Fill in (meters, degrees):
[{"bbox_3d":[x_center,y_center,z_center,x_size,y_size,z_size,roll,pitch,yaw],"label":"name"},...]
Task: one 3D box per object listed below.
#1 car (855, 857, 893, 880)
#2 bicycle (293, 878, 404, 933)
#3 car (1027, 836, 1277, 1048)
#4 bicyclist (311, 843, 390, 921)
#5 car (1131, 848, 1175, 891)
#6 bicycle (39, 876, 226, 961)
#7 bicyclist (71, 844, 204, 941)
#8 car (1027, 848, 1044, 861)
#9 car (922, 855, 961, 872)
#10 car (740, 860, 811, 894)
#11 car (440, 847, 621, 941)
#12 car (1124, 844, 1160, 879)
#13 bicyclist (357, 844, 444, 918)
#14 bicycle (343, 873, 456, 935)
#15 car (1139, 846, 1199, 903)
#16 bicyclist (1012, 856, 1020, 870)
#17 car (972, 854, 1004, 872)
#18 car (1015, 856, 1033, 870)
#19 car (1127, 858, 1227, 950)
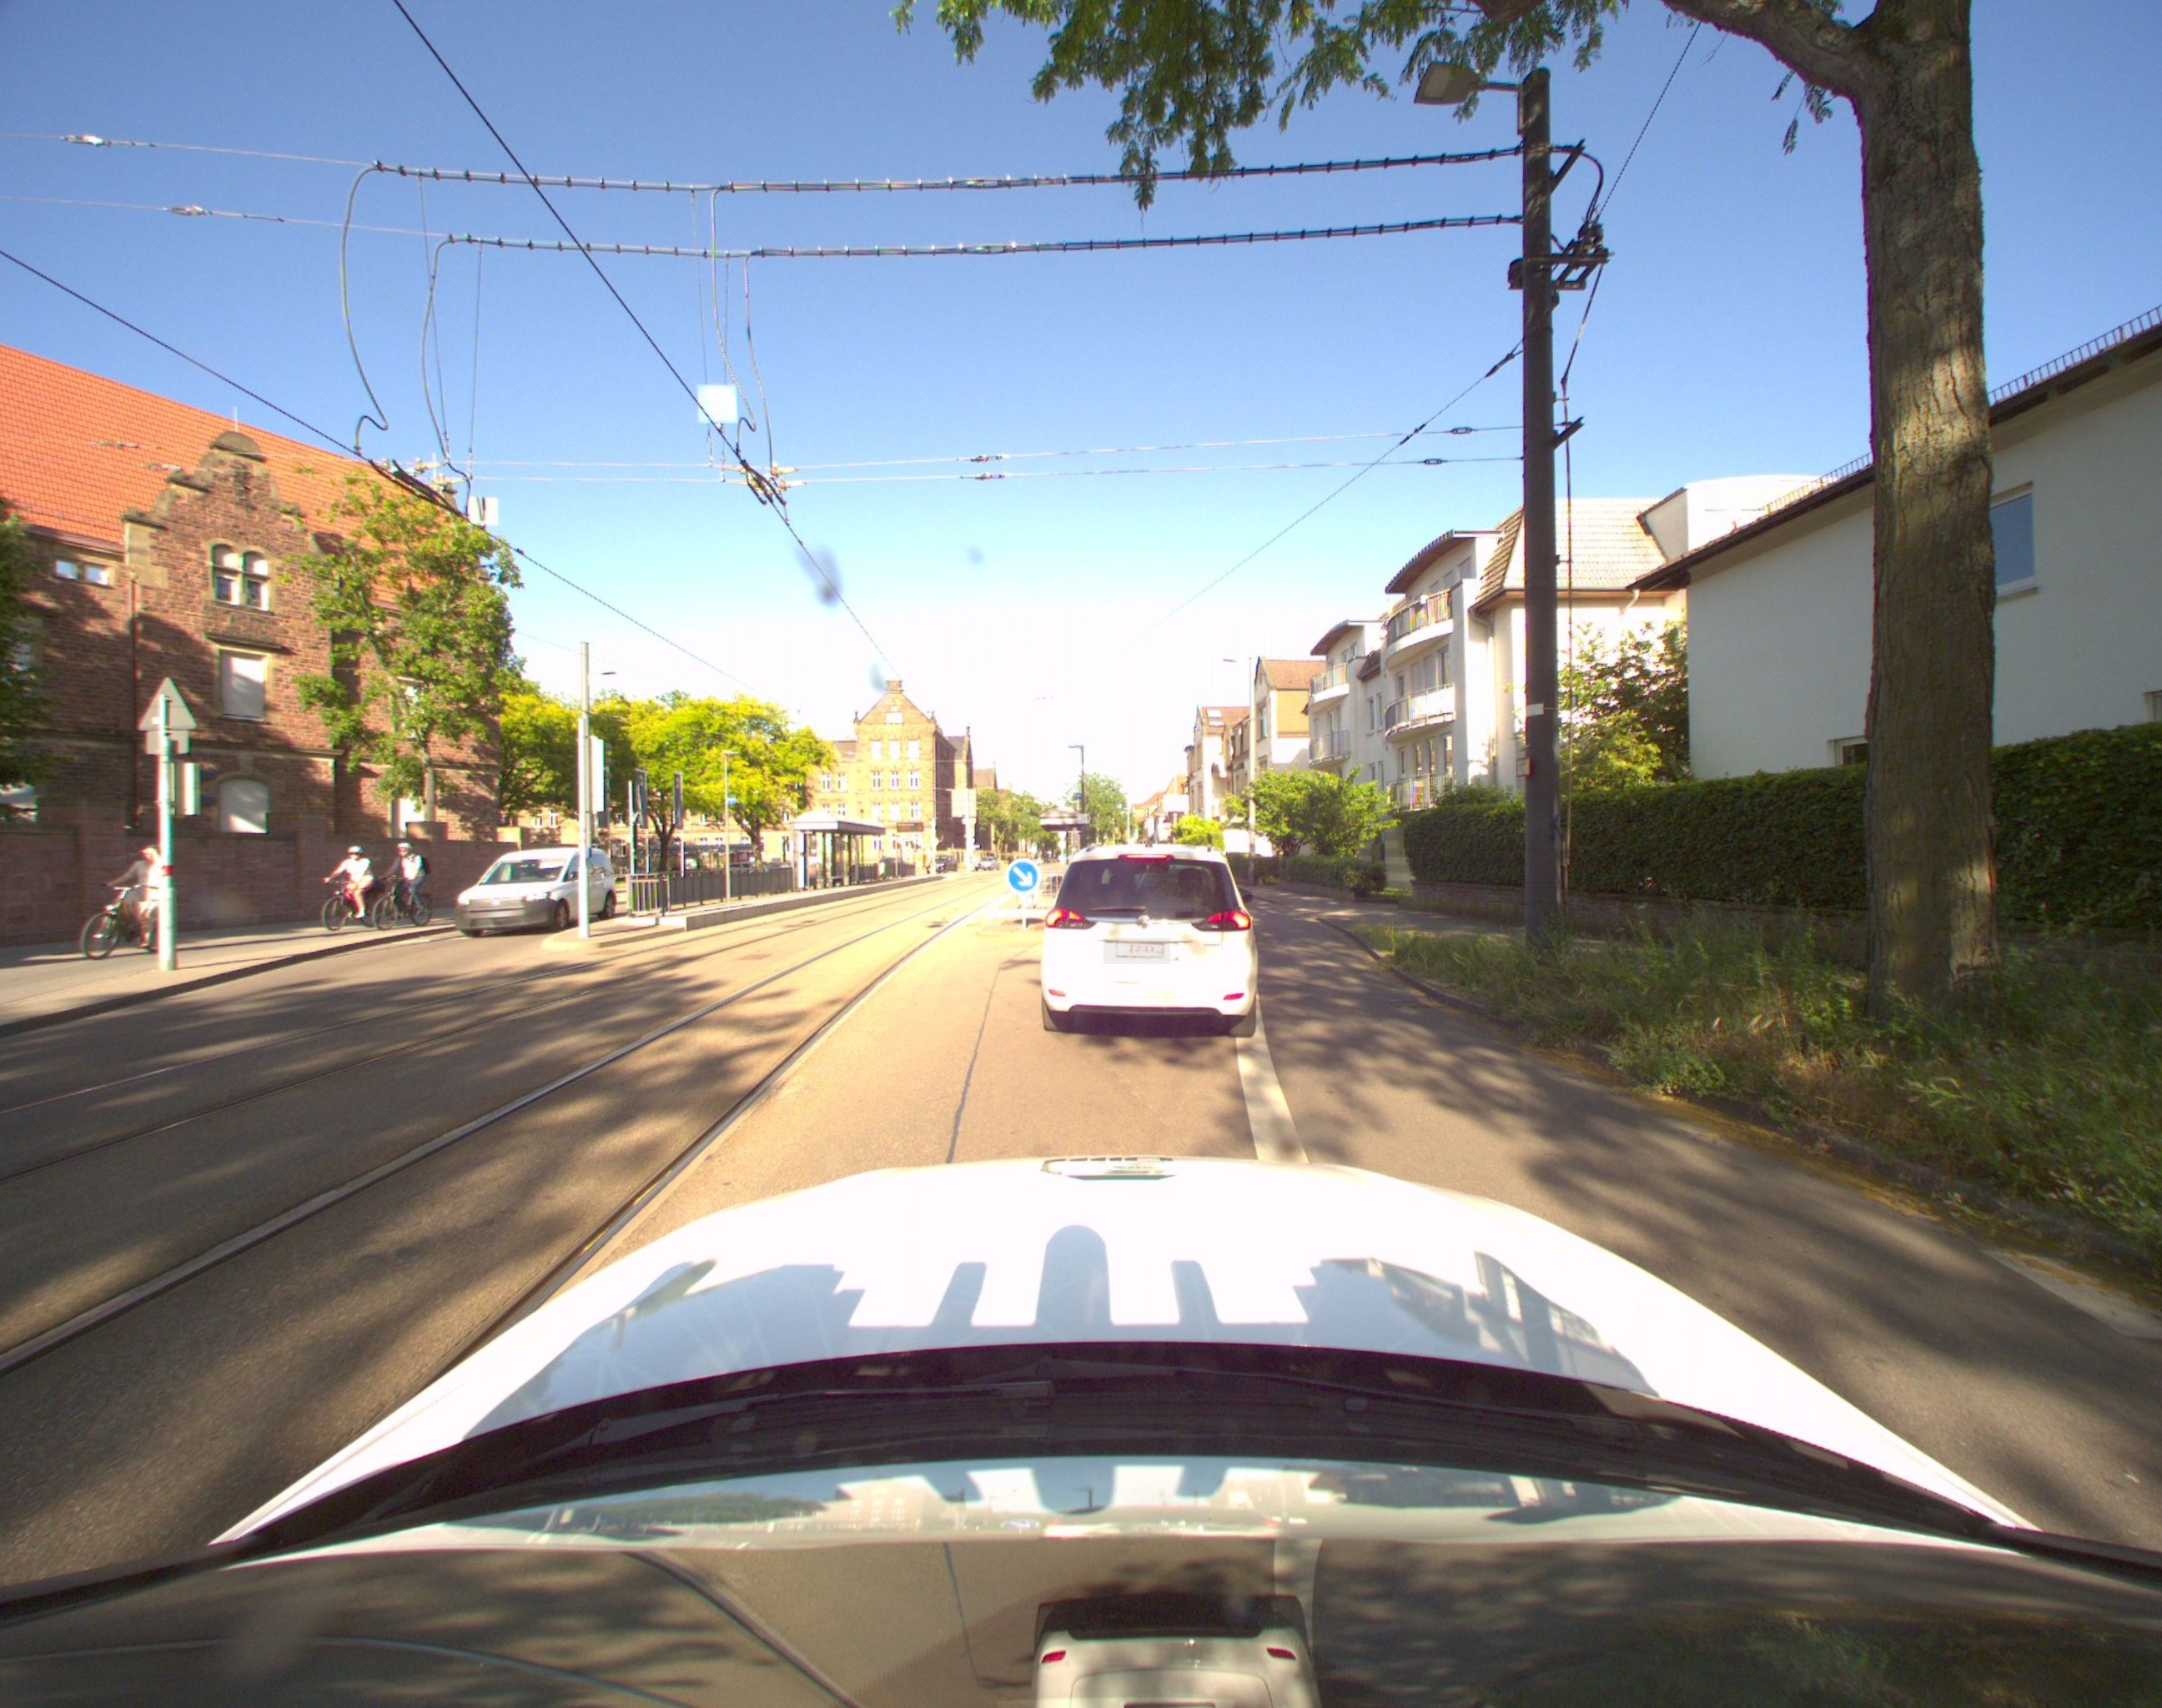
[{"bbox_3d":[-14.942,1.041,59.128,1.823,1.617,4.322,-1,-1,-3],"label":"car"},{"bbox_3d":[-16.131,1.098,18.001,0.667,1.072,2.014,0,0,-2],"label":"bicycle"},{"bbox_3d":[0.788,0.668,8.190,1.868,1.585,4.008,-1,0,7],"label":"car"},{"bbox_3d":[-16.125,0.592,18.018,0.648,1.674,1.232,0,1,-2],"label":"bicyclist"},{"bbox_3d":[2.944,0.608,34.000,1.590,1.635,3.903,1,0,2],"label":"car"},{"bbox_3d":[-15.060,0.982,13.035,0.814,1.198,1.948,0,0,-6],"label":"bicycle"},{"bbox_3d":[-15.061,0.591,13.043,0.755,1.471,1.188,0,-1,-6],"label":"bicyclist"},{"bbox_3d":[-7.316,0.137,130.894,1.982,2.014,4.009,0,-1,8],"label":"car"},{"bbox_3d":[-12.627,0.849,73.760,1.813,1.446,4.344,-1,-1,15],"label":"car"},{"bbox_3d":[-14.224,1.030,38.194,1.794,1.382,4.490,-1,0,-3],"label":"car"},{"bbox_3d":[-12.028,0.763,18.173,1.828,1.788,4.238,-1,1,-12],"label":"car"},{"bbox_3d":[2.979,0.336,40.568,1.590,1.635,3.903,1,1,2],"label":"car"},{"bbox_3d":[-15.007,0.575,17.997,0.758,1.536,1.347,-2,0,-2],"label":"bicyclist"},{"bbox_3d":[-15.003,1.074,18.011,0.775,1.231,2.087,-1,0,-2],"label":"bicycle"},{"bbox_3d":[2.636,0.575,25.008,1.563,1.614,3.786,1,0,2],"label":"car"},{"bbox_3d":[-7.964,1.072,99.612,0.722,1.688,1.171,-1,0,4],"label":"bicyclist"},{"bbox_3d":[-9.768,0.959,85.876,1.813,1.788,4.344,-1,-1,15],"label":"car"},{"bbox_3d":[-8.102,1.244,116.099,1.985,2.014,4.003,0,-1,3],"label":"car"},{"bbox_3d":[1.774,0.803,14.868,1.560,1.401,3.792,1,0,7],"label":"car"}]
